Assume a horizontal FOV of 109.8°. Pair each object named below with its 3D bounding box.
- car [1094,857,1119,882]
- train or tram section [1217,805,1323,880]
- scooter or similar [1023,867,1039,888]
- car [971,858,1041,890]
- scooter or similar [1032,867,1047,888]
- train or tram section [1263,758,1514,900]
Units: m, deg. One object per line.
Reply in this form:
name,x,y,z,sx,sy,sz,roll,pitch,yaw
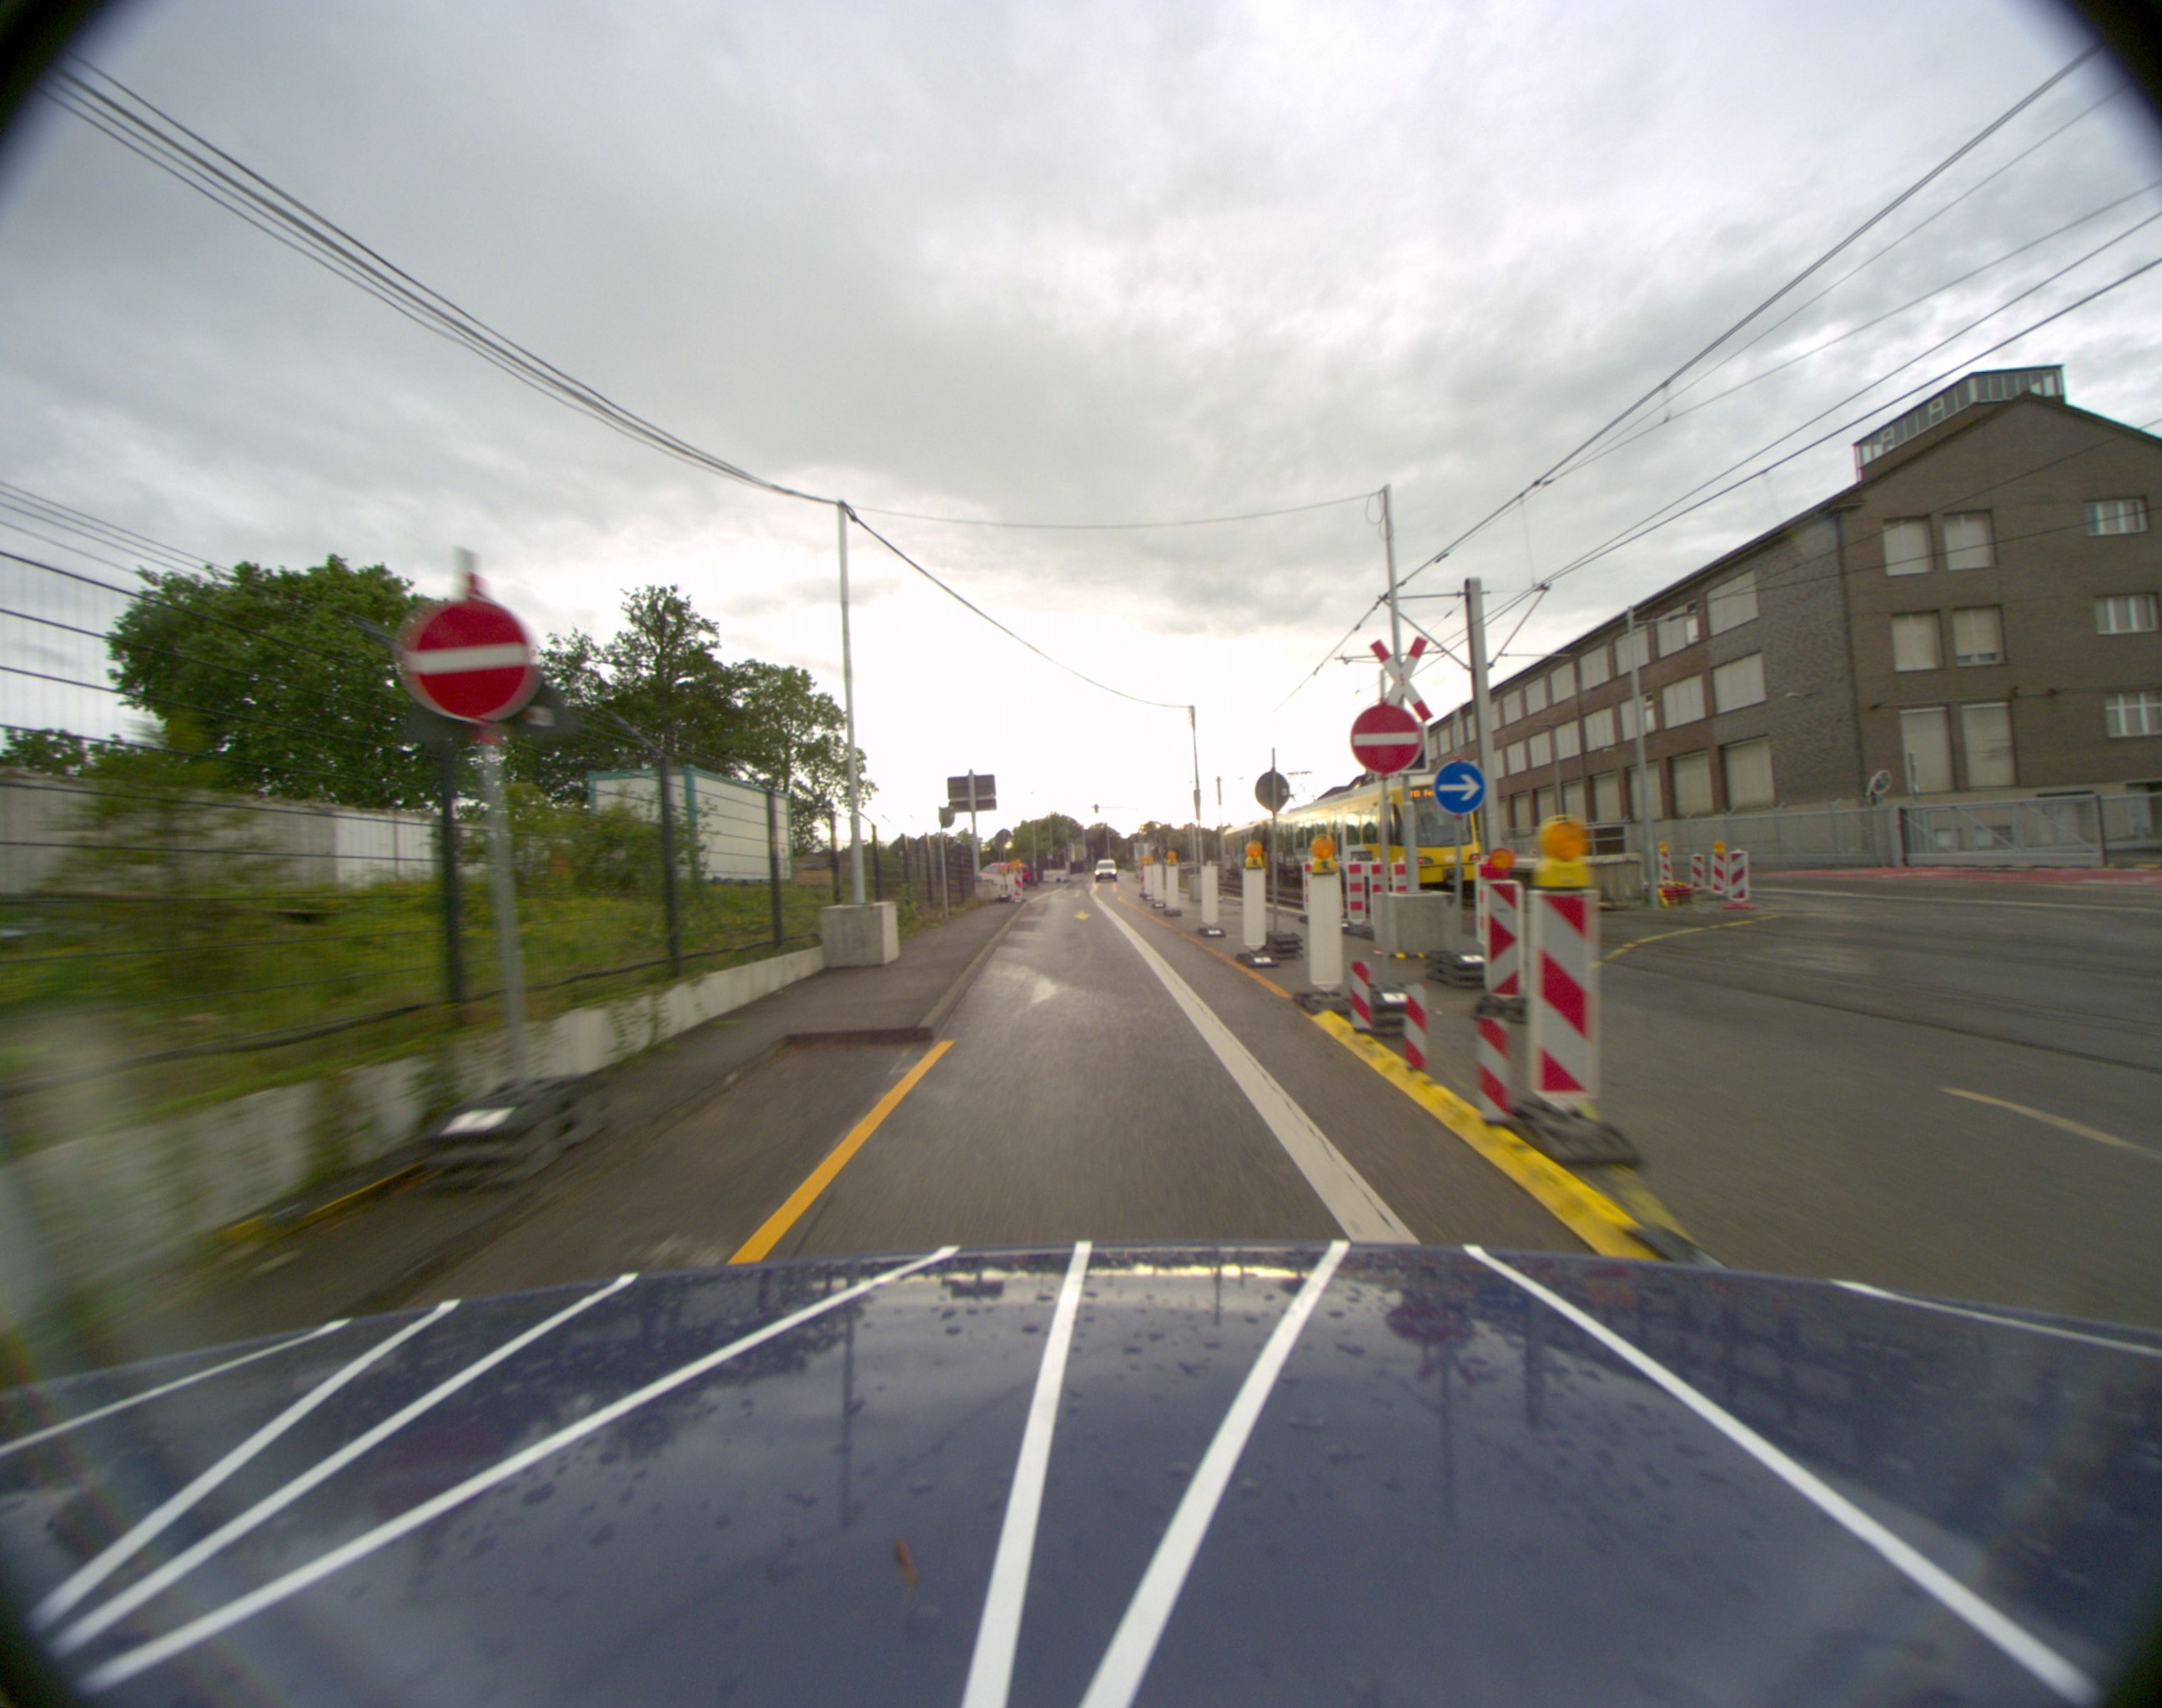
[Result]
car,2.151,1.323,65.330,1.998,2.002,4.000,-2,1,1
train or tram section,11.953,-0.546,50.874,2.962,3.863,19.577,-4,-1,3
scooter or similar,-3.428,1.606,52.300,0.616,1.343,1.913,-3,0,8
car,-4.574,1.219,46.995,1.821,1.783,4.417,-3,-1,33
scooter or similar,-2.802,1.584,51.796,0.616,1.343,1.913,-3,0,8
train or tram section,11.105,-0.637,31.417,2.962,3.863,19.294,-4,-1,2
